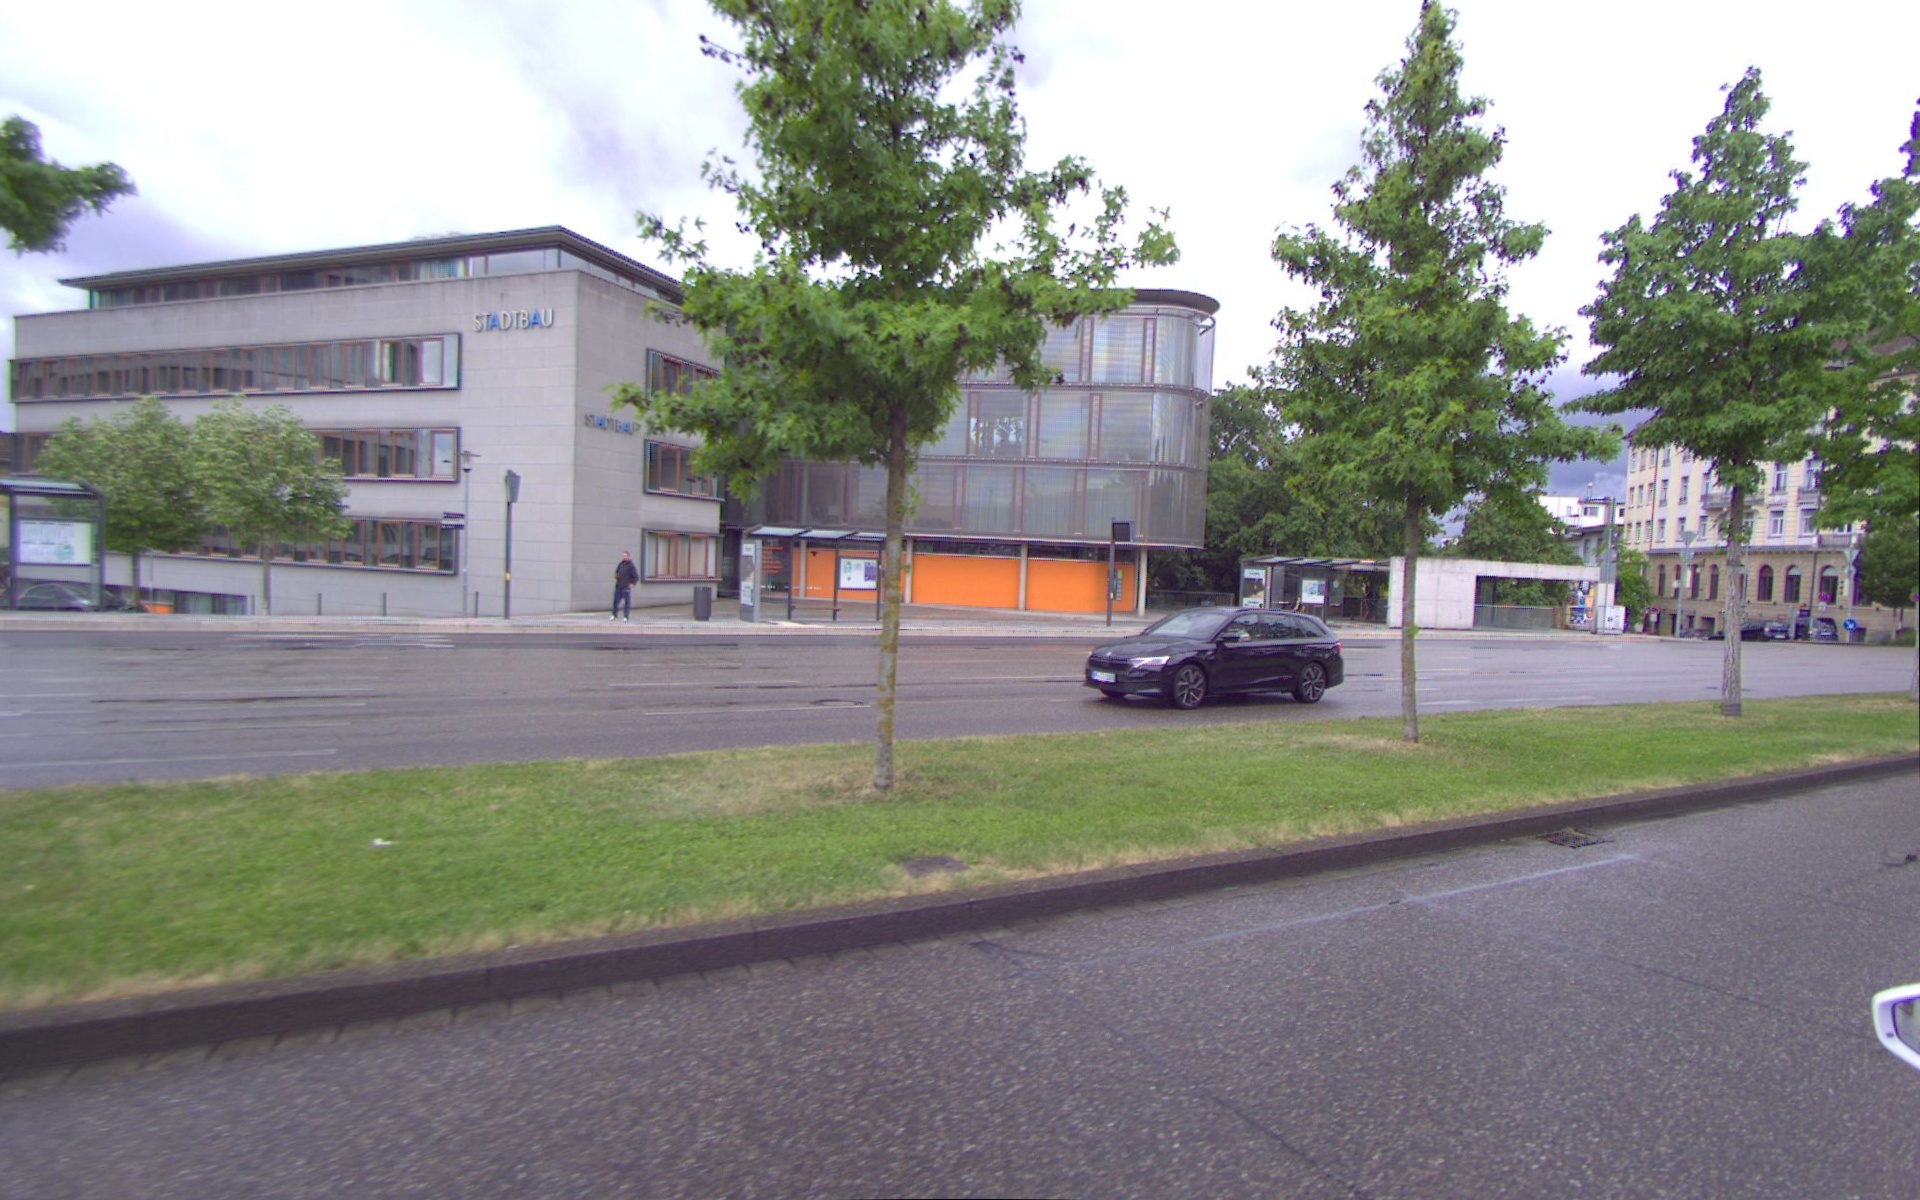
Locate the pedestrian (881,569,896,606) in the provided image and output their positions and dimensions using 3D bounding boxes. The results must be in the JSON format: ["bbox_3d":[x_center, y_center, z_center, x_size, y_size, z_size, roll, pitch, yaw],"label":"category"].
[{"bbox_3d":[-3.293,-0.575,46.303,0.630,1.706,0.475,1,1,1],"label":"pedestrian"}]

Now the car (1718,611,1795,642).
[{"bbox_3d":[47.727,1.552,60.260,1.805,1.649,3.707,2,1,5],"label":"car"}]

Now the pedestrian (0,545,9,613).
[{"bbox_3d":[-20.444,-0.457,20.971,0.713,1.411,0.674,2,1,-32],"label":"pedestrian"}]

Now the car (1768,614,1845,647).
[{"bbox_3d":[51.881,1.839,61.687,2.077,1.799,4.393,2,0,18],"label":"car"}]

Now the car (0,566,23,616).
[{"bbox_3d":[-31.030,-0.331,30.740,3.509,1.515,1.634,2,1,9],"label":"car"}]

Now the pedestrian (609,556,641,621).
[{"bbox_3d":[-8.946,-0.303,26.817,0.752,1.706,0.473,1,1,-23],"label":"pedestrian"}]

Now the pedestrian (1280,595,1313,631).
[{"bbox_3d":[13.183,0.509,39.376,0.834,1.285,0.977,2,5,-9],"label":"pedestrian"}]

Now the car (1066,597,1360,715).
[{"bbox_3d":[3.978,0.809,15.507,4.588,1.548,1.671,2,1,-32],"label":"car"}]

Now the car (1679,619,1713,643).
[{"bbox_3d":[53.195,2.228,72.629,1.634,1.626,3.245,-1,-1,31],"label":"car"}]

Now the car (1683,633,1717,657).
[{"bbox_3d":[53.441,3.225,72.585,1.634,1.626,3.246,-1,-1,30],"label":"car"}]

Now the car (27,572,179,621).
[{"bbox_3d":[-28.768,-0.116,33.824,3.519,1.515,1.629,2,1,-12],"label":"car"}]
